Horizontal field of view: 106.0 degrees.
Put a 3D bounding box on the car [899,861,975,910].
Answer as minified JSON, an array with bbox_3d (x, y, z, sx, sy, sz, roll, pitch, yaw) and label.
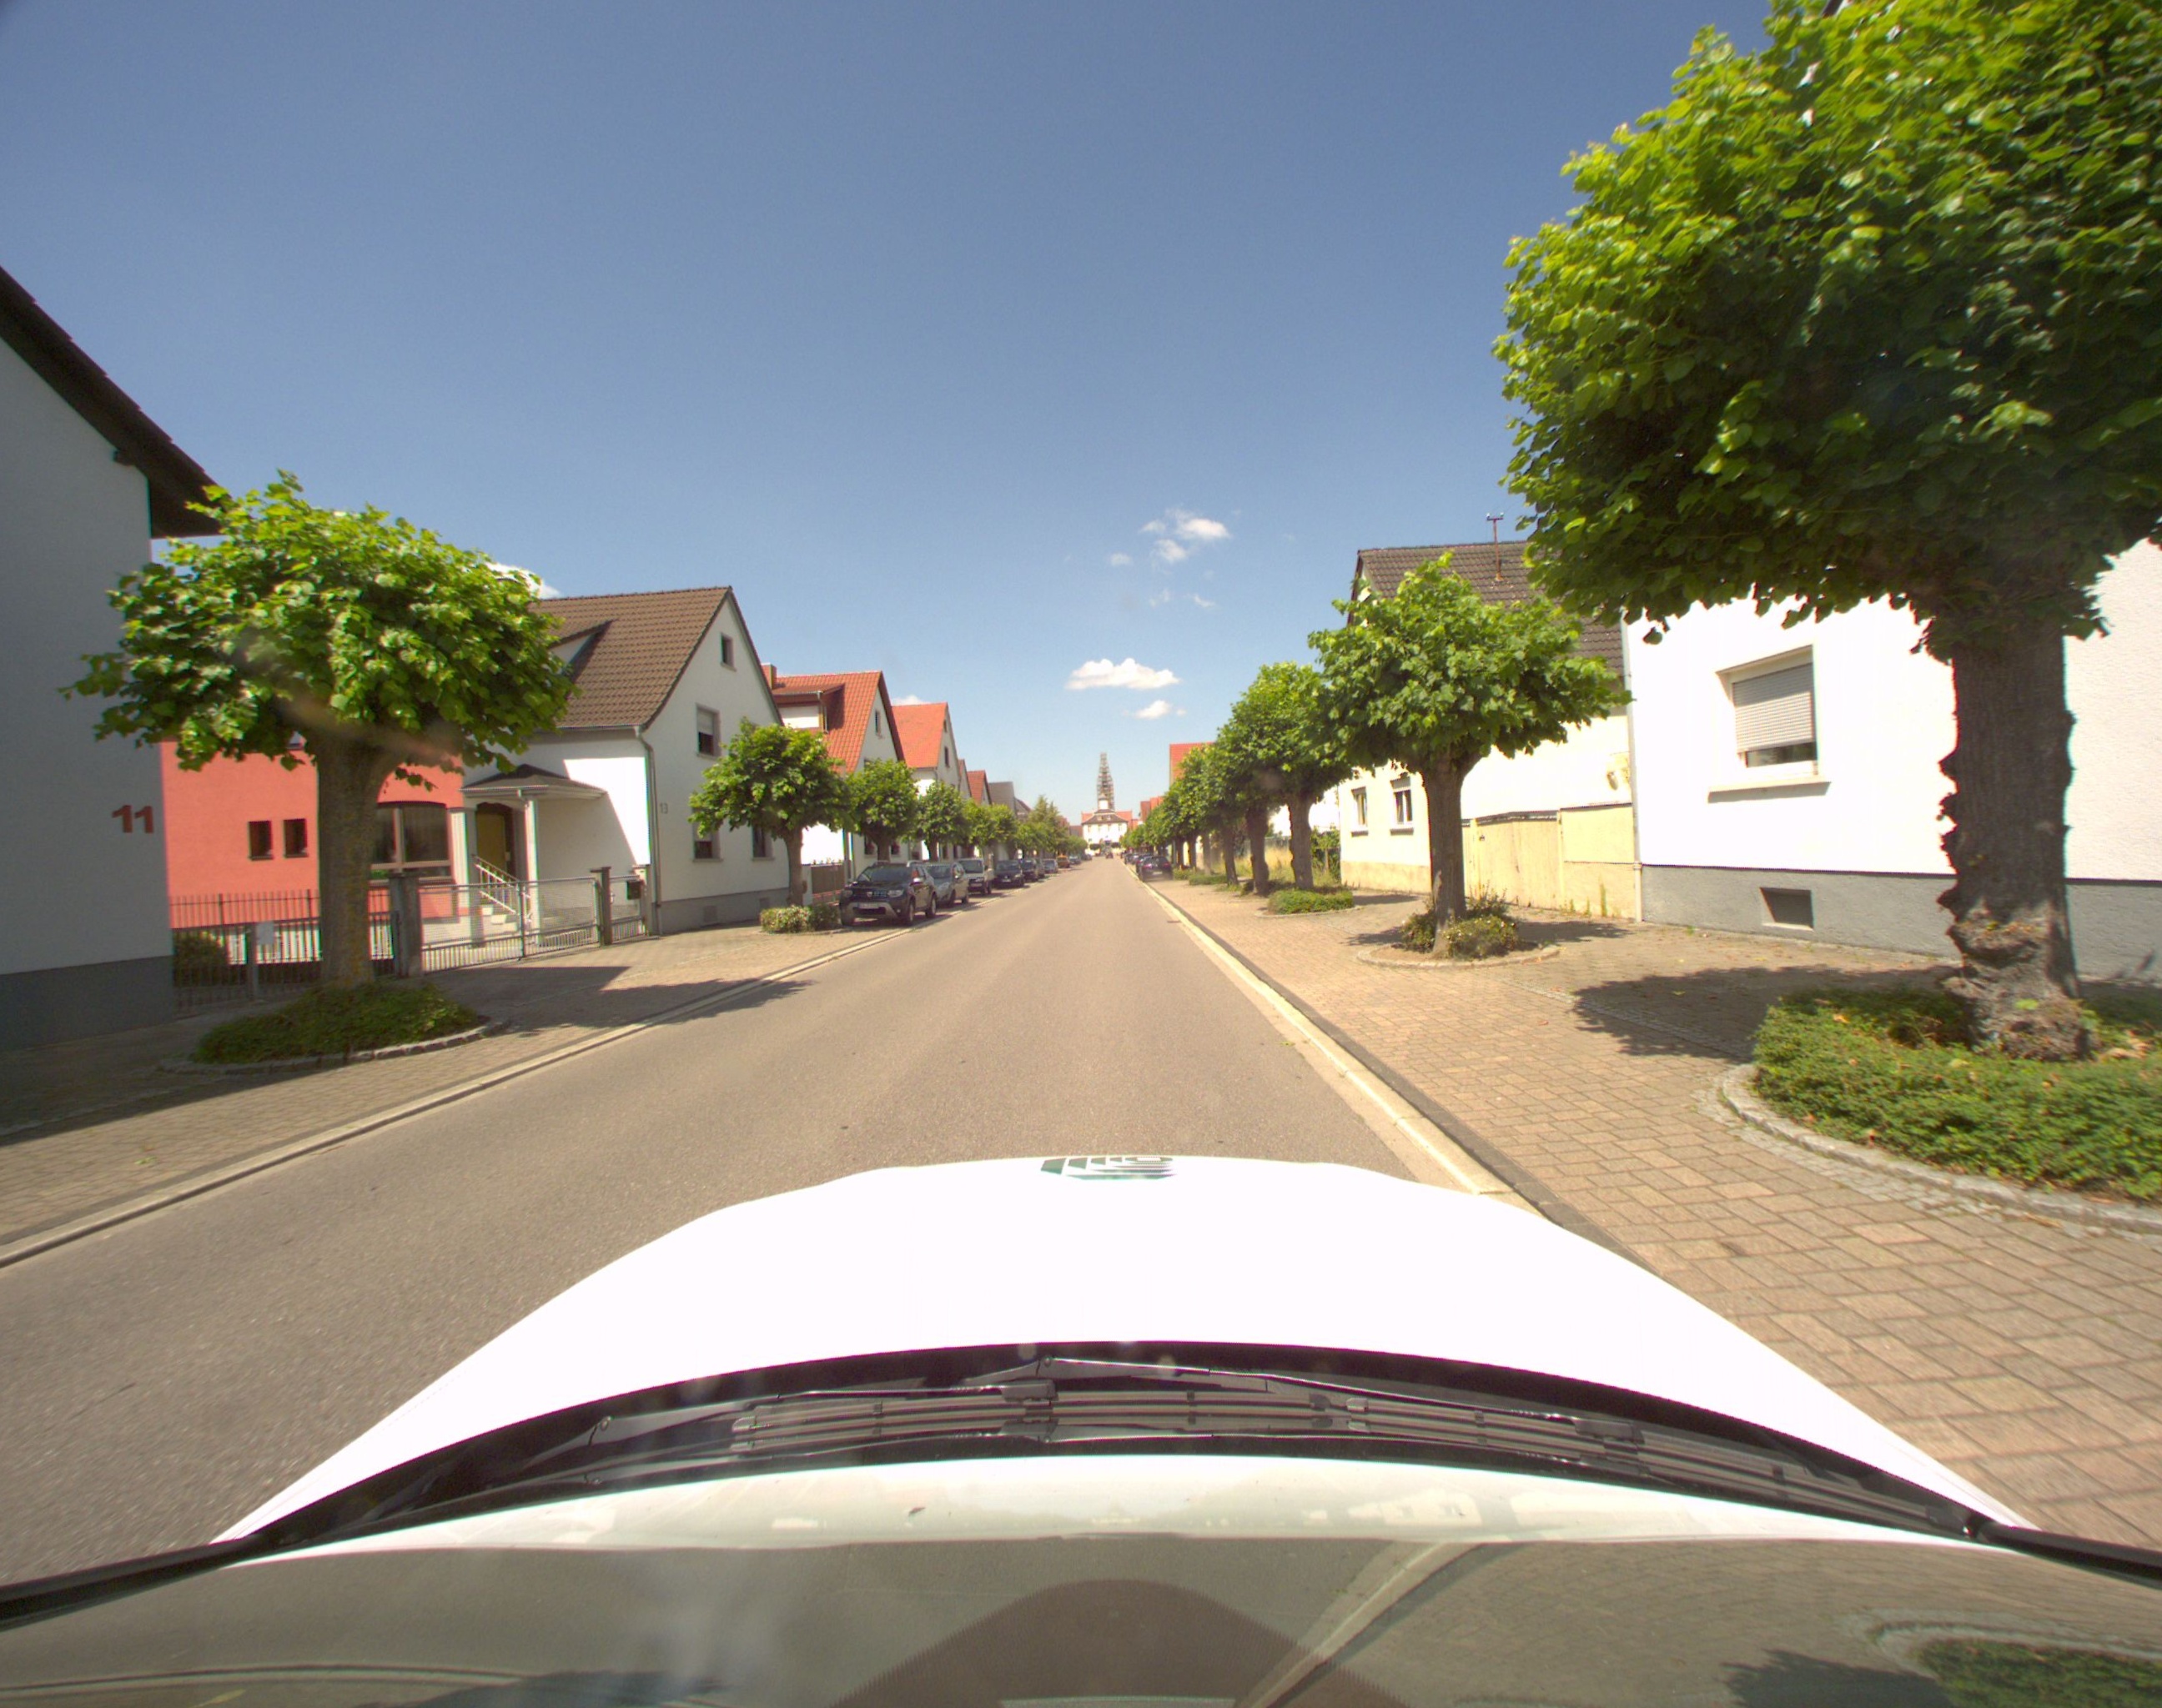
[{"bbox_3d":[-5.142,1.086,29.656,1.846,1.613,4.372,-1,-1,2],"label":"car"}]

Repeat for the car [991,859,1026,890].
[{"bbox_3d":[-4.080,1.154,46.422,1.782,1.634,3.995,-2,0,-3],"label":"car"}]

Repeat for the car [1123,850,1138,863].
[{"bbox_3d":[7.048,0.340,116.132,1.830,1.555,4.315,-5,0,2],"label":"car"}]

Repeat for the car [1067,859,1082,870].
[{"bbox_3d":[-1.020,1.725,130.534,1.985,1.611,4.693,-2,1,3],"label":"car"}]

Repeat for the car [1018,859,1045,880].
[{"bbox_3d":[-3.867,1.201,64.570,1.988,1.652,4.365,0,0,-1],"label":"car"}]

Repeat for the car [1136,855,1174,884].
[{"bbox_3d":[4.205,0.855,46.653,1.817,1.432,4.059,-5,0,2],"label":"car"}]

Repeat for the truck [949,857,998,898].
[{"bbox_3d":[-4.941,1.058,38.003,1.570,1.765,4.194,-1,0,2],"label":"truck"}]

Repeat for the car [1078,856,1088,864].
[{"bbox_3d":[0.435,1.285,173.488,1.750,1.555,4.023,-3,0,3],"label":"car"}]

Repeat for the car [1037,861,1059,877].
[{"bbox_3d":[-3.177,1.461,78.833,1.834,1.396,4.408,-2,0,2],"label":"car"}]

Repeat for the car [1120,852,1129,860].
[{"bbox_3d":[9.530,0.369,178.928,1.830,1.555,4.316,-5,0,3],"label":"car"}]

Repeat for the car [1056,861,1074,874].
[{"bbox_3d":[-2.075,1.841,109.103,1.985,1.611,4.692,-1,0,3],"label":"car"}]

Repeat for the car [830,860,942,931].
[{"bbox_3d":[-5.123,1.031,22.032,1.846,1.636,4.301,-1,0,2],"label":"car"}]

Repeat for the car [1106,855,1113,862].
[{"bbox_3d":[6.535,0.940,186.666,1.723,1.547,3.457,-1,-1,2],"label":"car"}]

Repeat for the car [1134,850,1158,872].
[{"bbox_3d":[5.438,0.571,67.687,1.815,1.586,4.064,-5,0,6],"label":"car"}]

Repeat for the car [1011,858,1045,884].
[{"bbox_3d":[-3.587,1.143,55.484,1.846,1.635,4.058,-1,-1,2],"label":"car"}]

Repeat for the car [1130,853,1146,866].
[{"bbox_3d":[7.557,0.707,108.319,1.831,1.607,4.000,-3,0,1],"label":"car"}]
